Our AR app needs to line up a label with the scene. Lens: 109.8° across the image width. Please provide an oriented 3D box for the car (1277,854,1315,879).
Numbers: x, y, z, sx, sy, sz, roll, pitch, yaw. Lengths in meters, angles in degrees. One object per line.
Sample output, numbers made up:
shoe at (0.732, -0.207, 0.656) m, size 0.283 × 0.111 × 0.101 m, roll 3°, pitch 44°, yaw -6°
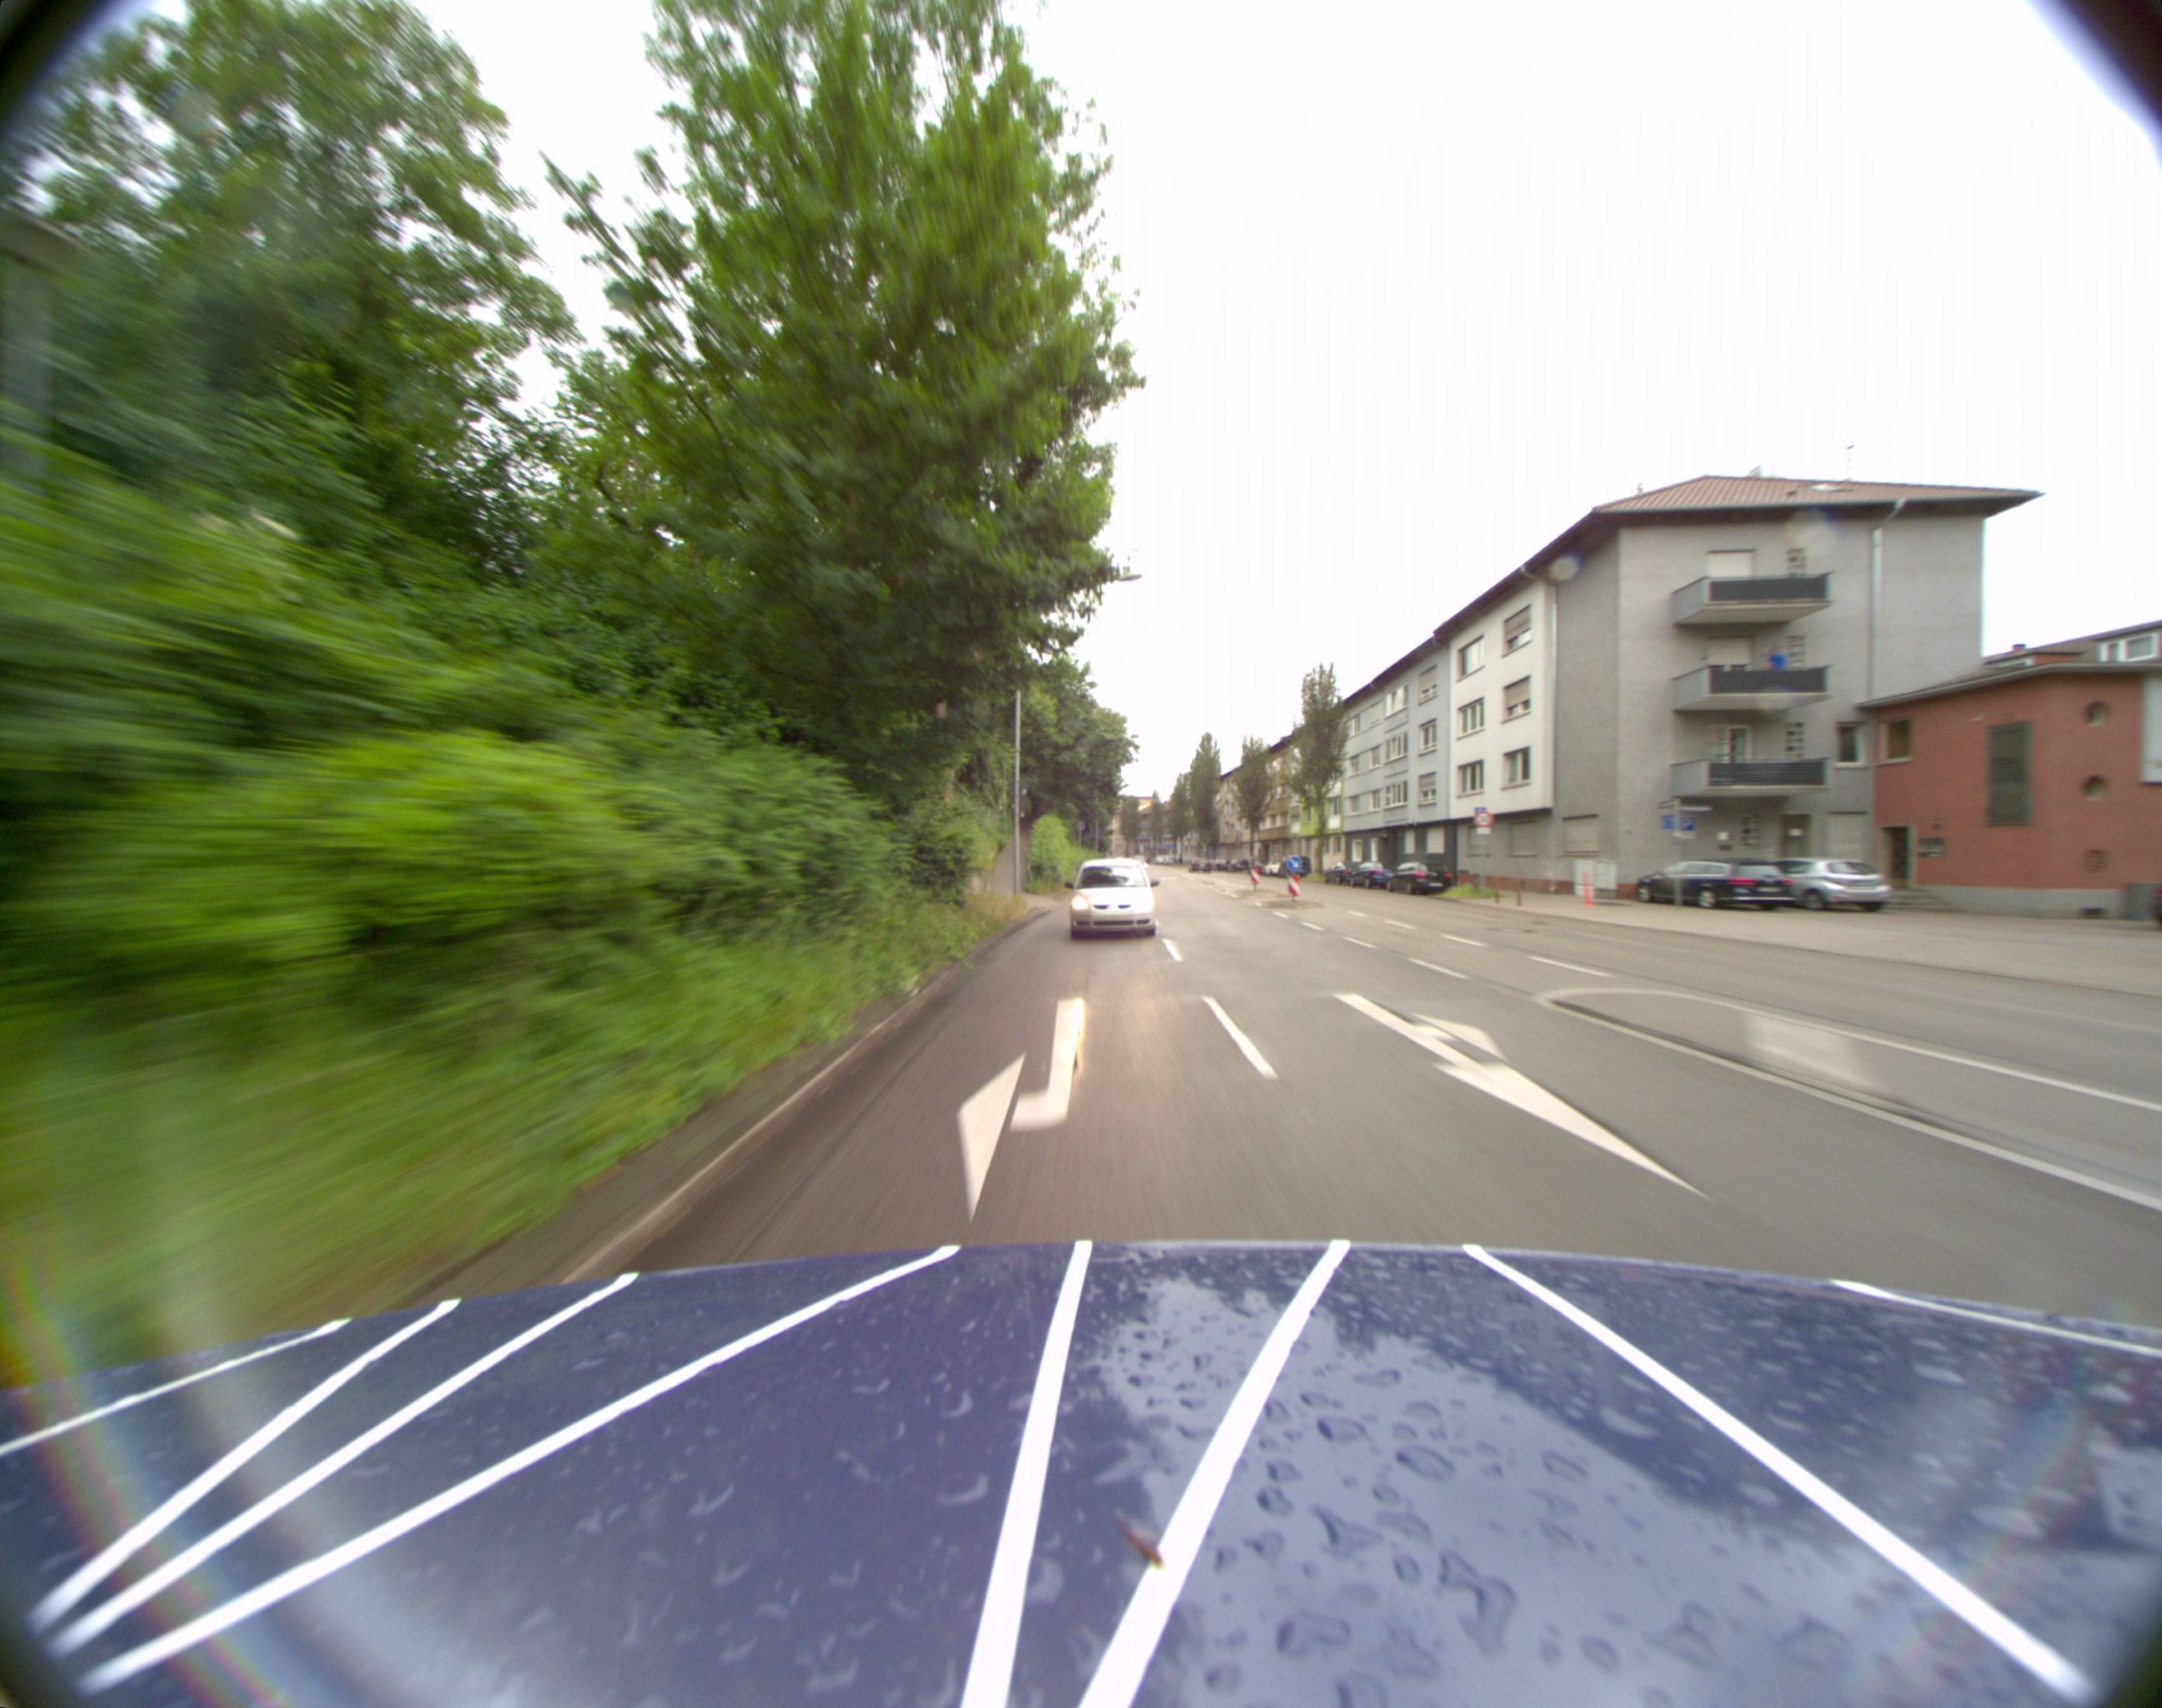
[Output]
car at (16.557, 0.954, 58.820) m, size 1.904 × 1.859 × 4.316 m, roll 0°, pitch 0°, yaw 3°

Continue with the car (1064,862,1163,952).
car at (0.721, 1.012, 16.260) m, size 1.754 × 1.586 × 4.170 m, roll -4°, pitch -1°, yaw 3°

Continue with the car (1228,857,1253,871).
car at (16.995, 1.047, 81.170) m, size 1.867 × 1.504 × 4.000 m, roll 1°, pitch 0°, yaw 1°

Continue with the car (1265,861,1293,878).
car at (16.692, 1.328, 64.270) m, size 1.547 × 1.369 × 3.449 m, roll 1°, pitch -1°, yaw 2°

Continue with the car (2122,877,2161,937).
car at (27.648, 1.324, 17.727) m, size 3.997 × 1.404 × 1.905 m, roll 1°, pitch 2°, yaw 0°

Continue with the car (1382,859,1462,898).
car at (15.157, 1.062, 34.060) m, size 1.851 × 1.536 × 4.248 m, roll -2°, pitch 0°, yaw 4°

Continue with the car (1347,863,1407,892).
car at (15.443, 1.207, 39.795) m, size 1.726 × 1.376 × 3.927 m, roll 1°, pitch 0°, yaw 3°

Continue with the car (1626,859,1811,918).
car at (18.989, 0.944, 22.970) m, size 1.855 × 1.477 × 4.635 m, roll -2°, pitch 0°, yaw 3°

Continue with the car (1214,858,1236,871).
car at (17.060, 1.223, 90.205) m, size 1.867 × 1.558 × 4.174 m, roll 1°, pitch 0°, yaw 1°

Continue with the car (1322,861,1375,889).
car at (15.904, 1.203, 45.388) m, size 1.726 × 1.472 × 4.316 m, roll 2°, pitch 0°, yaw 3°

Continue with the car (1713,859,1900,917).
car at (21.638, 0.945, 22.947) m, size 1.733 × 1.516 × 4.230 m, roll 1°, pitch 0°, yaw 3°

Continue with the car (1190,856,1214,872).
car at (11.752, 0.958, 74.114) m, size 1.815 × 1.507 × 4.291 m, roll 2°, pitch 0°, yaw 3°

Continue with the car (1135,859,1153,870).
car at (8.553, 1.410, 103.880) m, size 1.999 × 1.455 × 3.999 m, roll 1°, pitch 0°, yaw -1°

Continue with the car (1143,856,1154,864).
car at (14.732, 1.334, 165.605) m, size 1.868 × 1.558 × 3.956 m, roll 1°, pitch 0°, yaw -3°

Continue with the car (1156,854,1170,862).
car at (15.854, 0.819, 147.516) m, size 1.868 × 1.558 × 4.171 m, roll 1°, pitch 0°, yaw -5°

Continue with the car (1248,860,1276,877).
car at (16.469, 1.287, 69.179) m, size 1.547 × 1.338 × 4.253 m, roll 2°, pitch 0°, yaw 1°

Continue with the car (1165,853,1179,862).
car at (16.306, 0.690, 136.668) m, size 1.868 × 1.558 × 4.172 m, roll 1°, pitch 0°, yaw -3°
